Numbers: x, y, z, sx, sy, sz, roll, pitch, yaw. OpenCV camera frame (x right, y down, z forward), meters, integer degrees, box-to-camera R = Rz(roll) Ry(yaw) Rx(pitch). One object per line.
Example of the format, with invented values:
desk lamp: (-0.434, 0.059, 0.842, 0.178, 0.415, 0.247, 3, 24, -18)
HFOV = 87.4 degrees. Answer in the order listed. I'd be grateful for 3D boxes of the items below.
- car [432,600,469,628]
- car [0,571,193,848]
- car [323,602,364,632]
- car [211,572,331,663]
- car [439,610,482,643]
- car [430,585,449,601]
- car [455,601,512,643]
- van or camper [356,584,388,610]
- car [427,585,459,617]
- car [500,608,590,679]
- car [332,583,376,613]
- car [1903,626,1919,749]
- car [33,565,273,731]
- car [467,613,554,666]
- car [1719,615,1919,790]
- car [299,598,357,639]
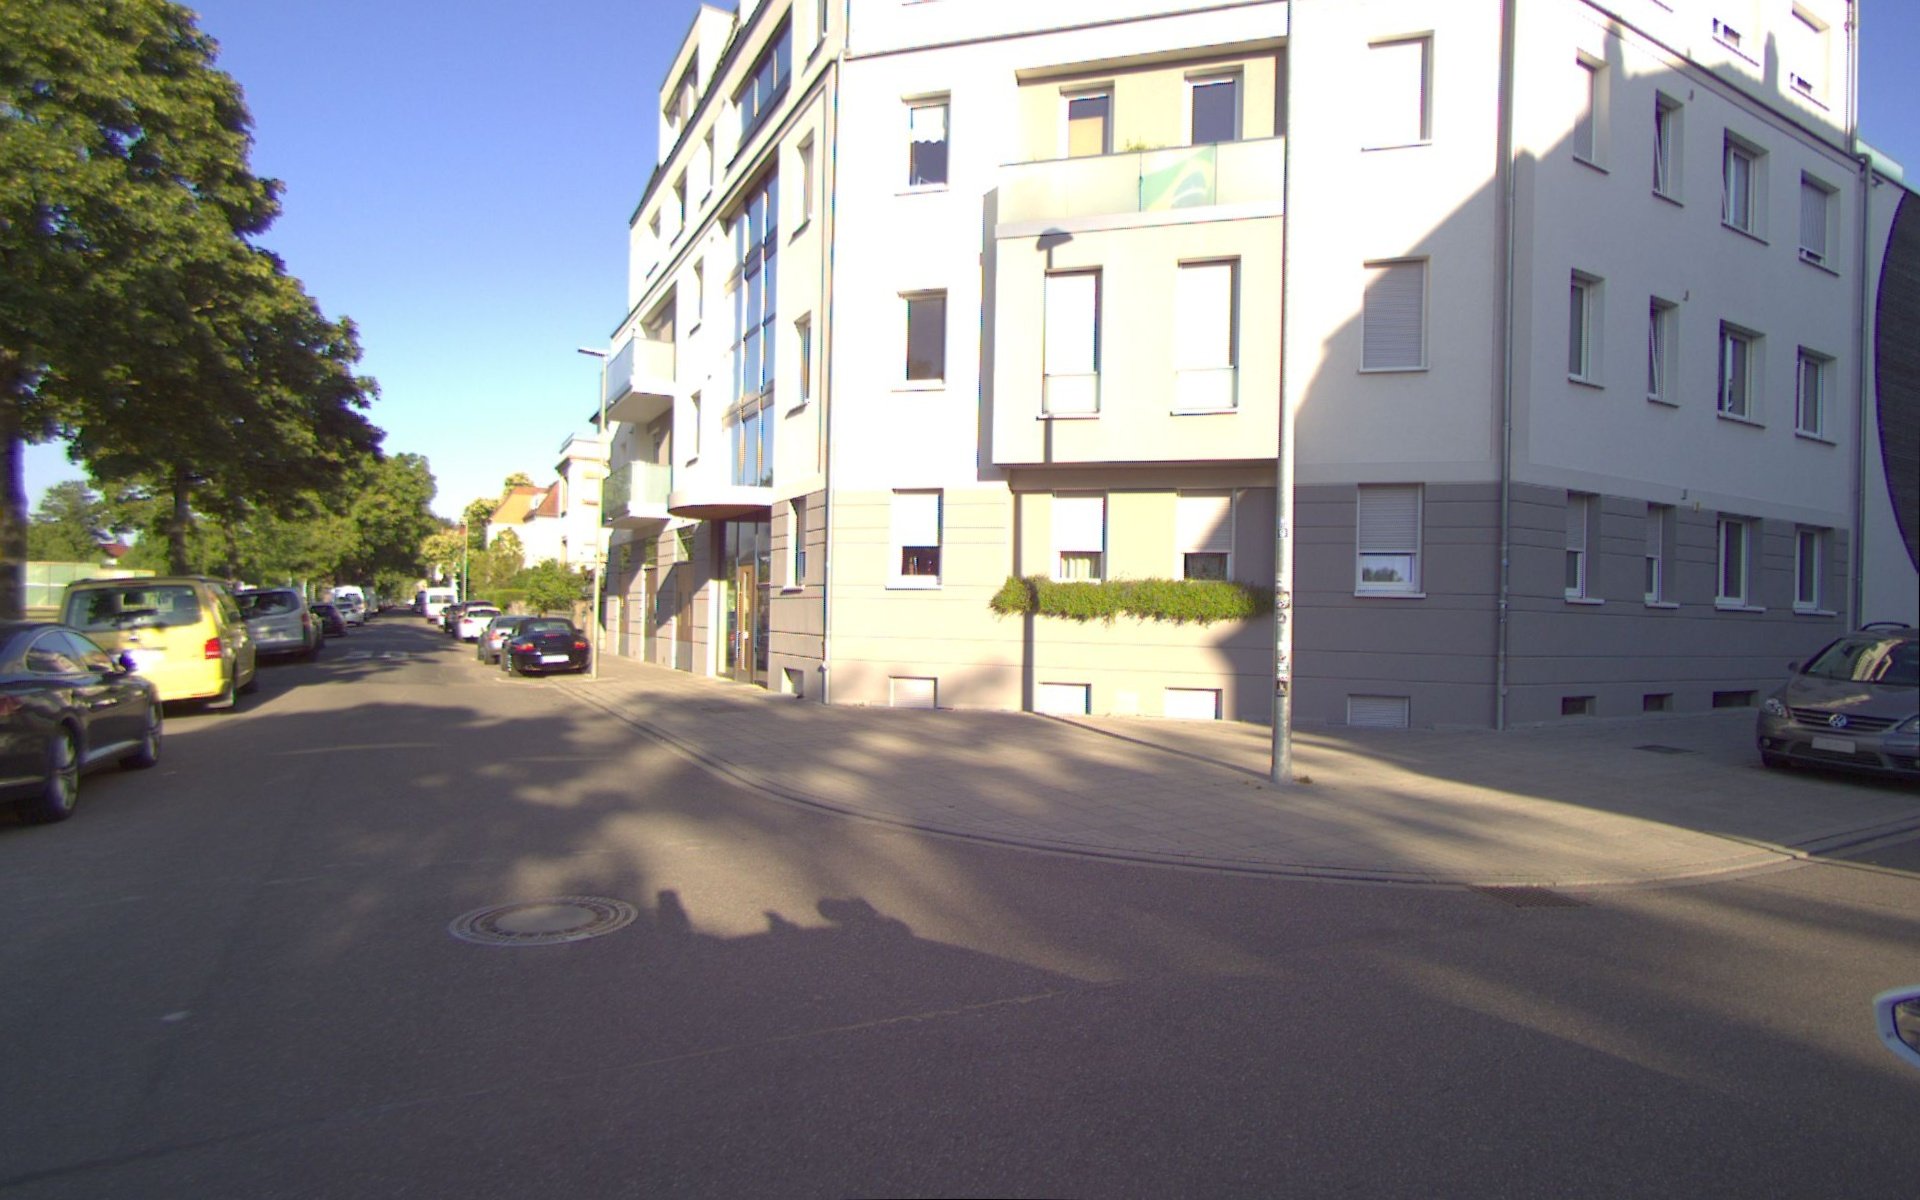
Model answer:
car: (-31.110, 0.832, 61.268, 1.804, 1.601, 3.937, 2, -1, -29)
car: (-7.637, 0.634, 7.898, 1.767, 1.691, 4.803, 2, -1, -28)
car: (-35.183, 0.951, 57.394, 1.804, 1.601, 3.807, 2, -1, -29)
car: (-17.043, 0.422, 25.061, 2.055, 2.040, 4.538, 2, -1, -30)
car: (-26.272, 1.361, 52.776, 1.804, 1.601, 4.130, 2, -1, -29)
car: (-59.473, -0.799, 114.863, 1.825, 1.765, 3.869, 2, -1, -26)
car: (-19.371, 0.871, 40.758, 1.804, 1.601, 3.807, 2, -1, -29)
van or camper: (-55.899, -0.288, 95.577, 2.200, 2.308, 4.478, 2, -1, -26)
car: (-37.962, 0.054, 73.813, 1.974, 2.243, 4.103, 2, -1, -26)
car: (-9.771, 0.954, 23.524, 1.605, 1.441, 3.703, 0, 1, -28)
car: (-42.717, -0.144, 70.913, 2.200, 1.971, 4.478, 2, -1, -26)
car: (14.746, 1.214, 13.646, 4.046, 1.612, 1.873, 2, -1, -32)
car: (-11.769, 0.567, 15.024, 2.009, 2.041, 4.657, -2, 1, -30)
car: (-12.544, 1.075, 27.943, 1.609, 1.256, 3.696, 3, -1, -33)
car: (10.338, 1.027, 11.057, 4.046, 1.612, 1.873, 2, -1, -32)
car: (-26.308, 0.735, 41.905, 1.804, 1.601, 3.807, 2, -1, -29)
